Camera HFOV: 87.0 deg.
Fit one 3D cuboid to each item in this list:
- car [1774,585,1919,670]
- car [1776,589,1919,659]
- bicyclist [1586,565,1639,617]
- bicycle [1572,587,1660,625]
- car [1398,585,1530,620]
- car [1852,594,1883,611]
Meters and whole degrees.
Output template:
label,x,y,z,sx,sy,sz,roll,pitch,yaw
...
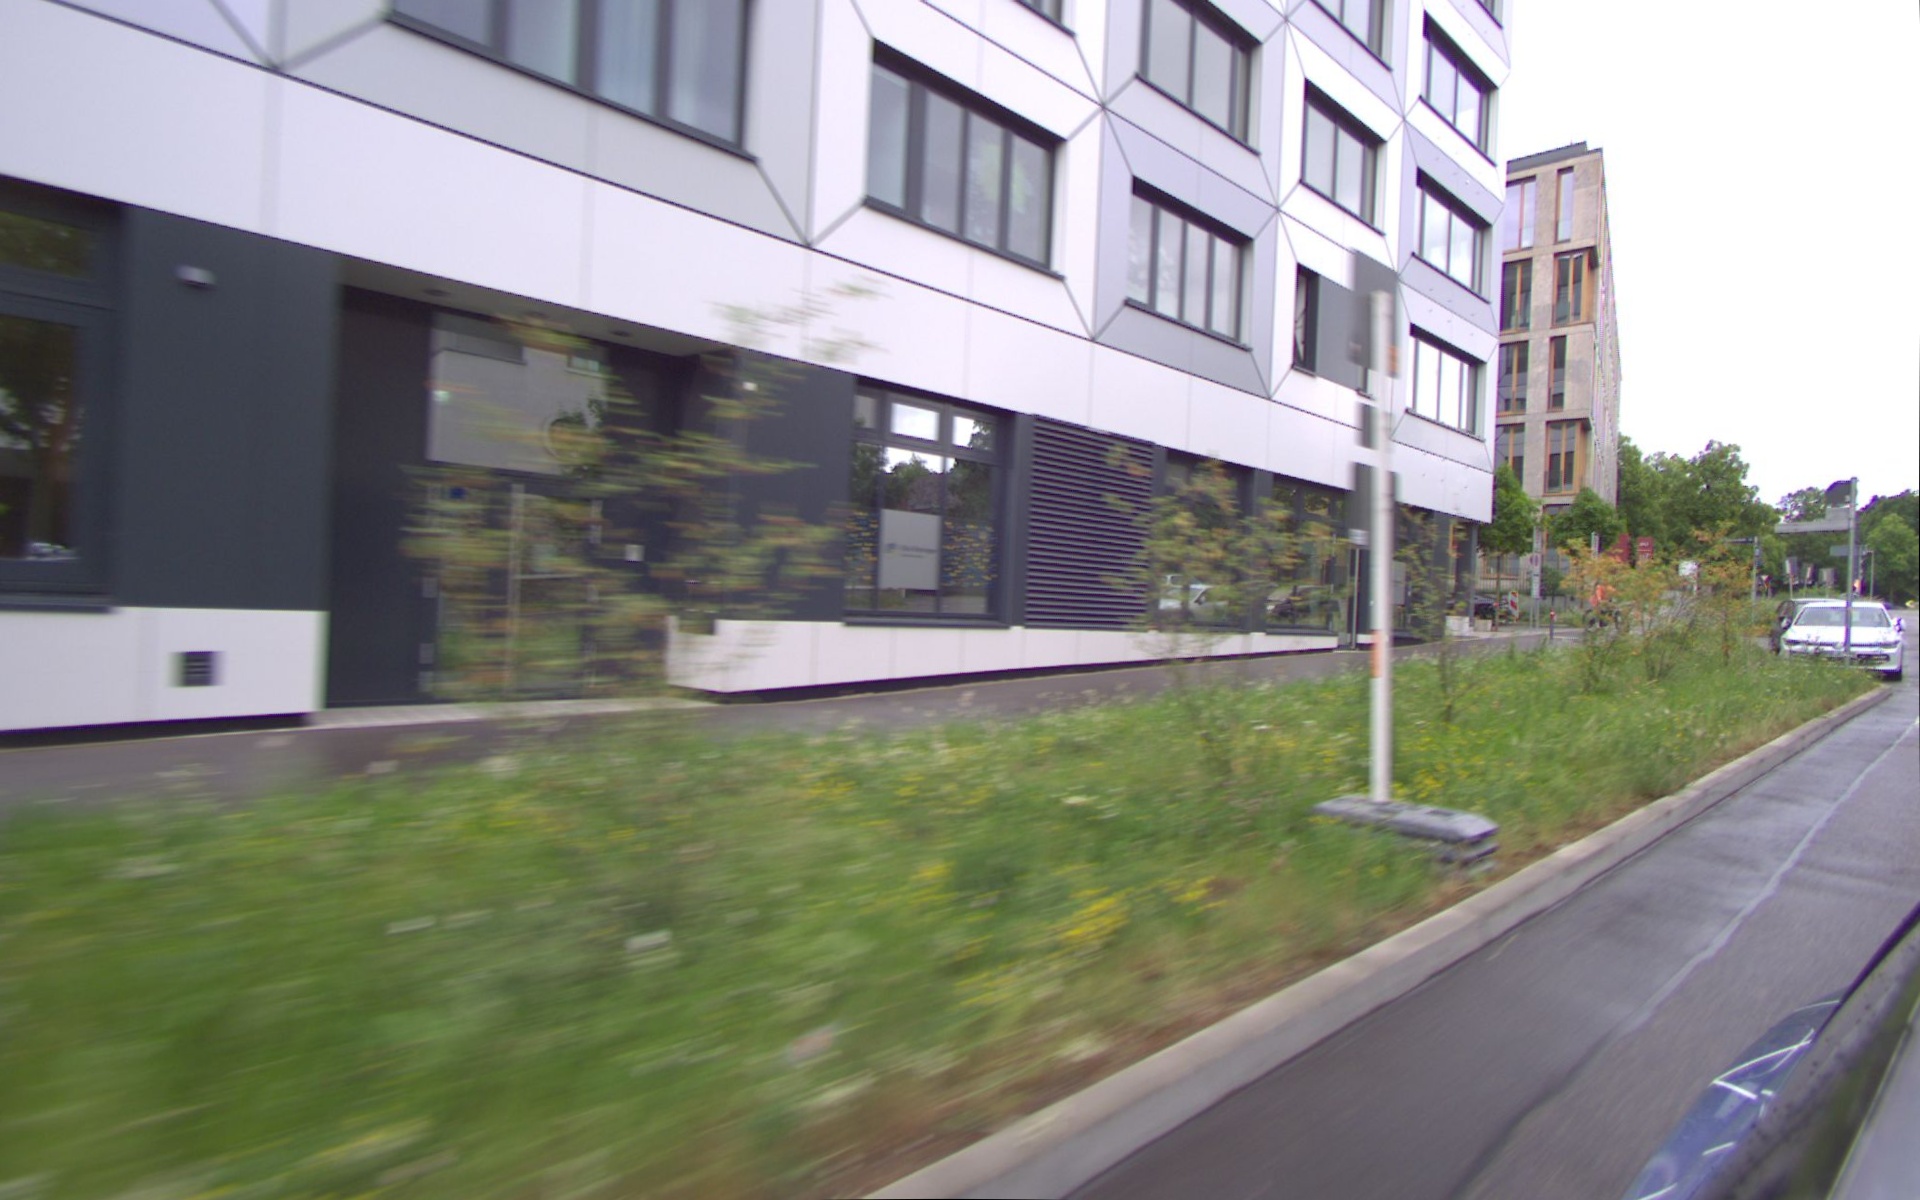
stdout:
label,x,y,z,sx,sy,sz,roll,pitch,yaw
car,17.660,0.447,20.033,2.040,1.482,4.431,1,1,44
car,20.756,0.485,23.737,2.035,1.476,4.008,1,1,32
bicyclist,19.502,-0.280,30.252,0.823,1.522,1.078,0,0,-9
bicycle,19.532,0.158,30.194,0.613,1.033,2.488,1,2,-11
car,19.335,0.068,38.935,4.229,1.260,1.702,1,1,44
car,97.058,0.251,108.226,1.888,1.726,4.454,1,1,35
